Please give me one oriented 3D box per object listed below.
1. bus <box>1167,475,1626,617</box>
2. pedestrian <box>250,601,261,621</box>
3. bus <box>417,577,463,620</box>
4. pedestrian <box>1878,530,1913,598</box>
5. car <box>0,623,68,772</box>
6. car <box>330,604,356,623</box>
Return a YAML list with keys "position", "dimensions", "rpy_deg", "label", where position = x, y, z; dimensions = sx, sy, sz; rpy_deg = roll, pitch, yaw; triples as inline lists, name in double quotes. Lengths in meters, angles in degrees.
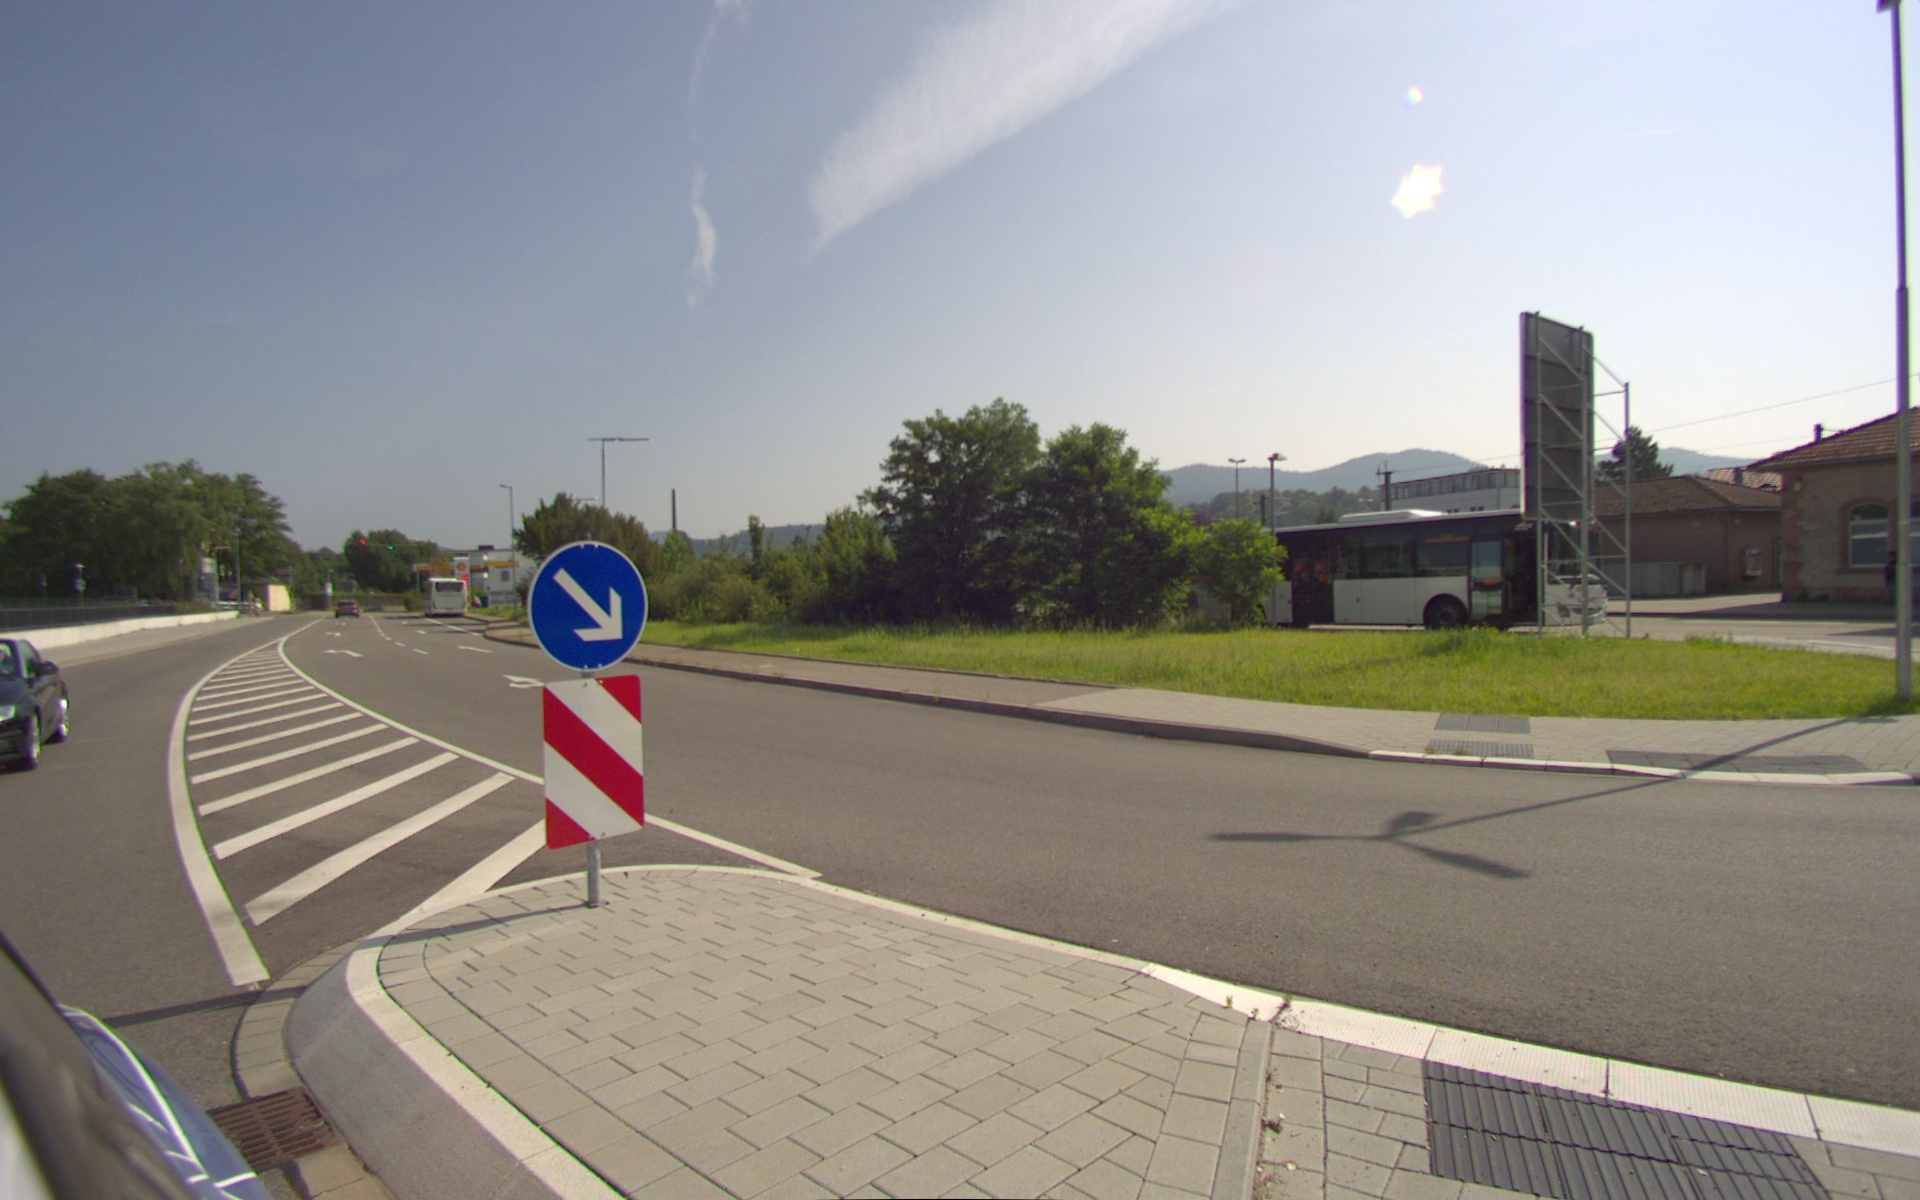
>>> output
- position: [11.189, -1.163, 27.987]
  dimensions: [3.024, 3.147, 11.750]
  rpy_deg: [-2, 0, -35]
  label: "bus"
- position: [-61.094, 0.961, 87.774]
  dimensions: [0.701, 1.684, 0.594]
  rpy_deg: [-1, 1, -37]
  label: "pedestrian"
- position: [-43.595, -0.178, 84.649]
  dimensions: [2.584, 3.335, 11.992]
  rpy_deg: [-1, 1, -31]
  label: "bus"
- position: [27.930, -1.070, 30.218]
  dimensions: [0.522, 2.029, 0.579]
  rpy_deg: [-1, 0, -10]
  label: "pedestrian"
- position: [-10.875, 0.977, 10.662]
  dimensions: [1.840, 1.340, 4.241]
  rpy_deg: [-2, 1, -37]
  label: "car"
- position: [-52.189, 1.121, 85.678]
  dimensions: [1.748, 1.484, 4.232]
  rpy_deg: [-1, 1, -30]
  label: "car"
